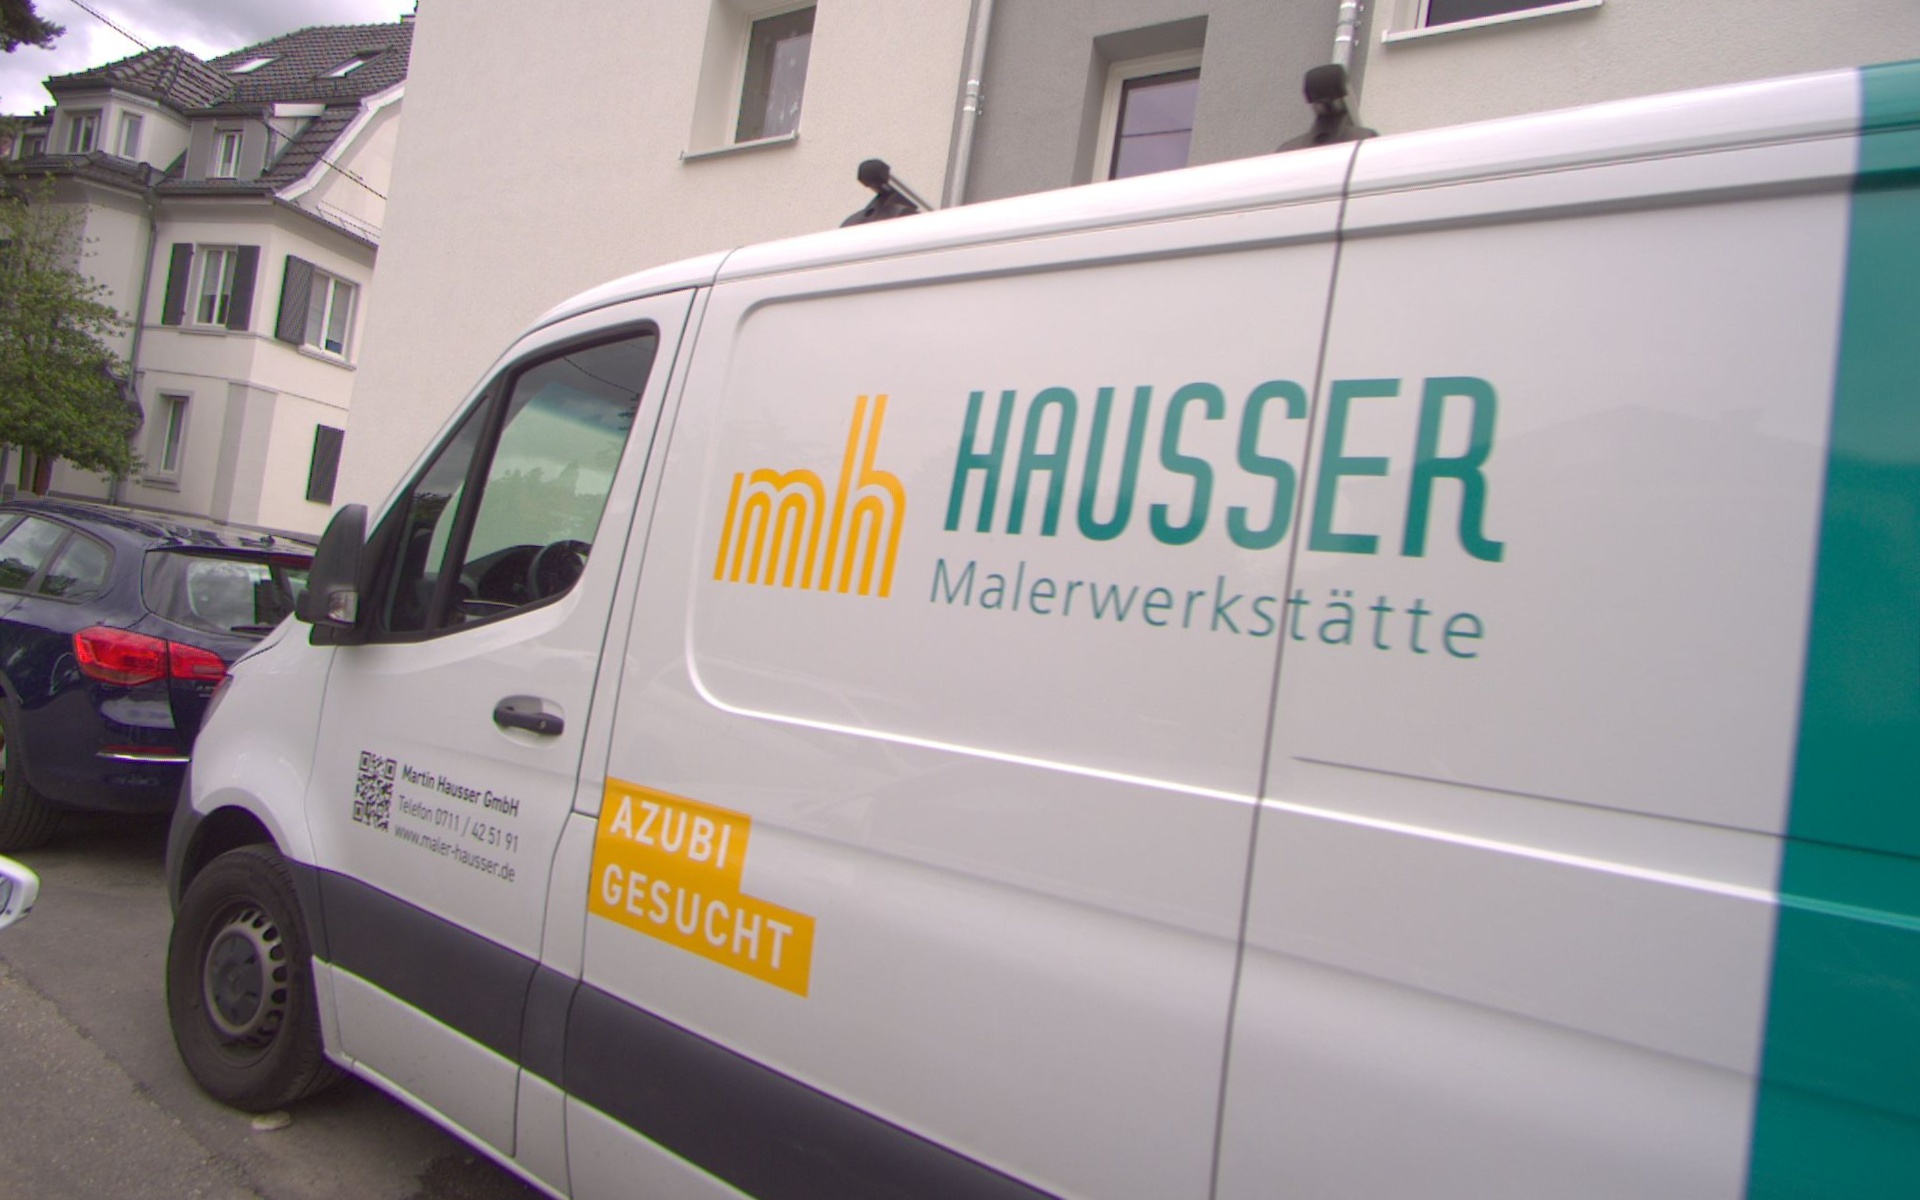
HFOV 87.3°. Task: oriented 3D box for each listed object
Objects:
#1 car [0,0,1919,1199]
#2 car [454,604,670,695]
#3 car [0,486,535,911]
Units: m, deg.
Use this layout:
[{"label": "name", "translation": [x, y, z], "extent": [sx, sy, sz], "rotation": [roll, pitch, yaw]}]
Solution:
[{"label": "car", "translation": [-0.141, 0.305, 2.541], "extent": [5.207, 2.450, 1.997], "rotation": [6, -2, 33]}, {"label": "car", "translation": [-8.845, 1.167, 22.688], "extent": [1.645, 1.456, 4.199], "rotation": [4, -7, 36]}, {"label": "car", "translation": [-4.591, 0.248, 5.560], "extent": [4.214, 1.503, 1.823], "rotation": [8, -2, 30]}]
